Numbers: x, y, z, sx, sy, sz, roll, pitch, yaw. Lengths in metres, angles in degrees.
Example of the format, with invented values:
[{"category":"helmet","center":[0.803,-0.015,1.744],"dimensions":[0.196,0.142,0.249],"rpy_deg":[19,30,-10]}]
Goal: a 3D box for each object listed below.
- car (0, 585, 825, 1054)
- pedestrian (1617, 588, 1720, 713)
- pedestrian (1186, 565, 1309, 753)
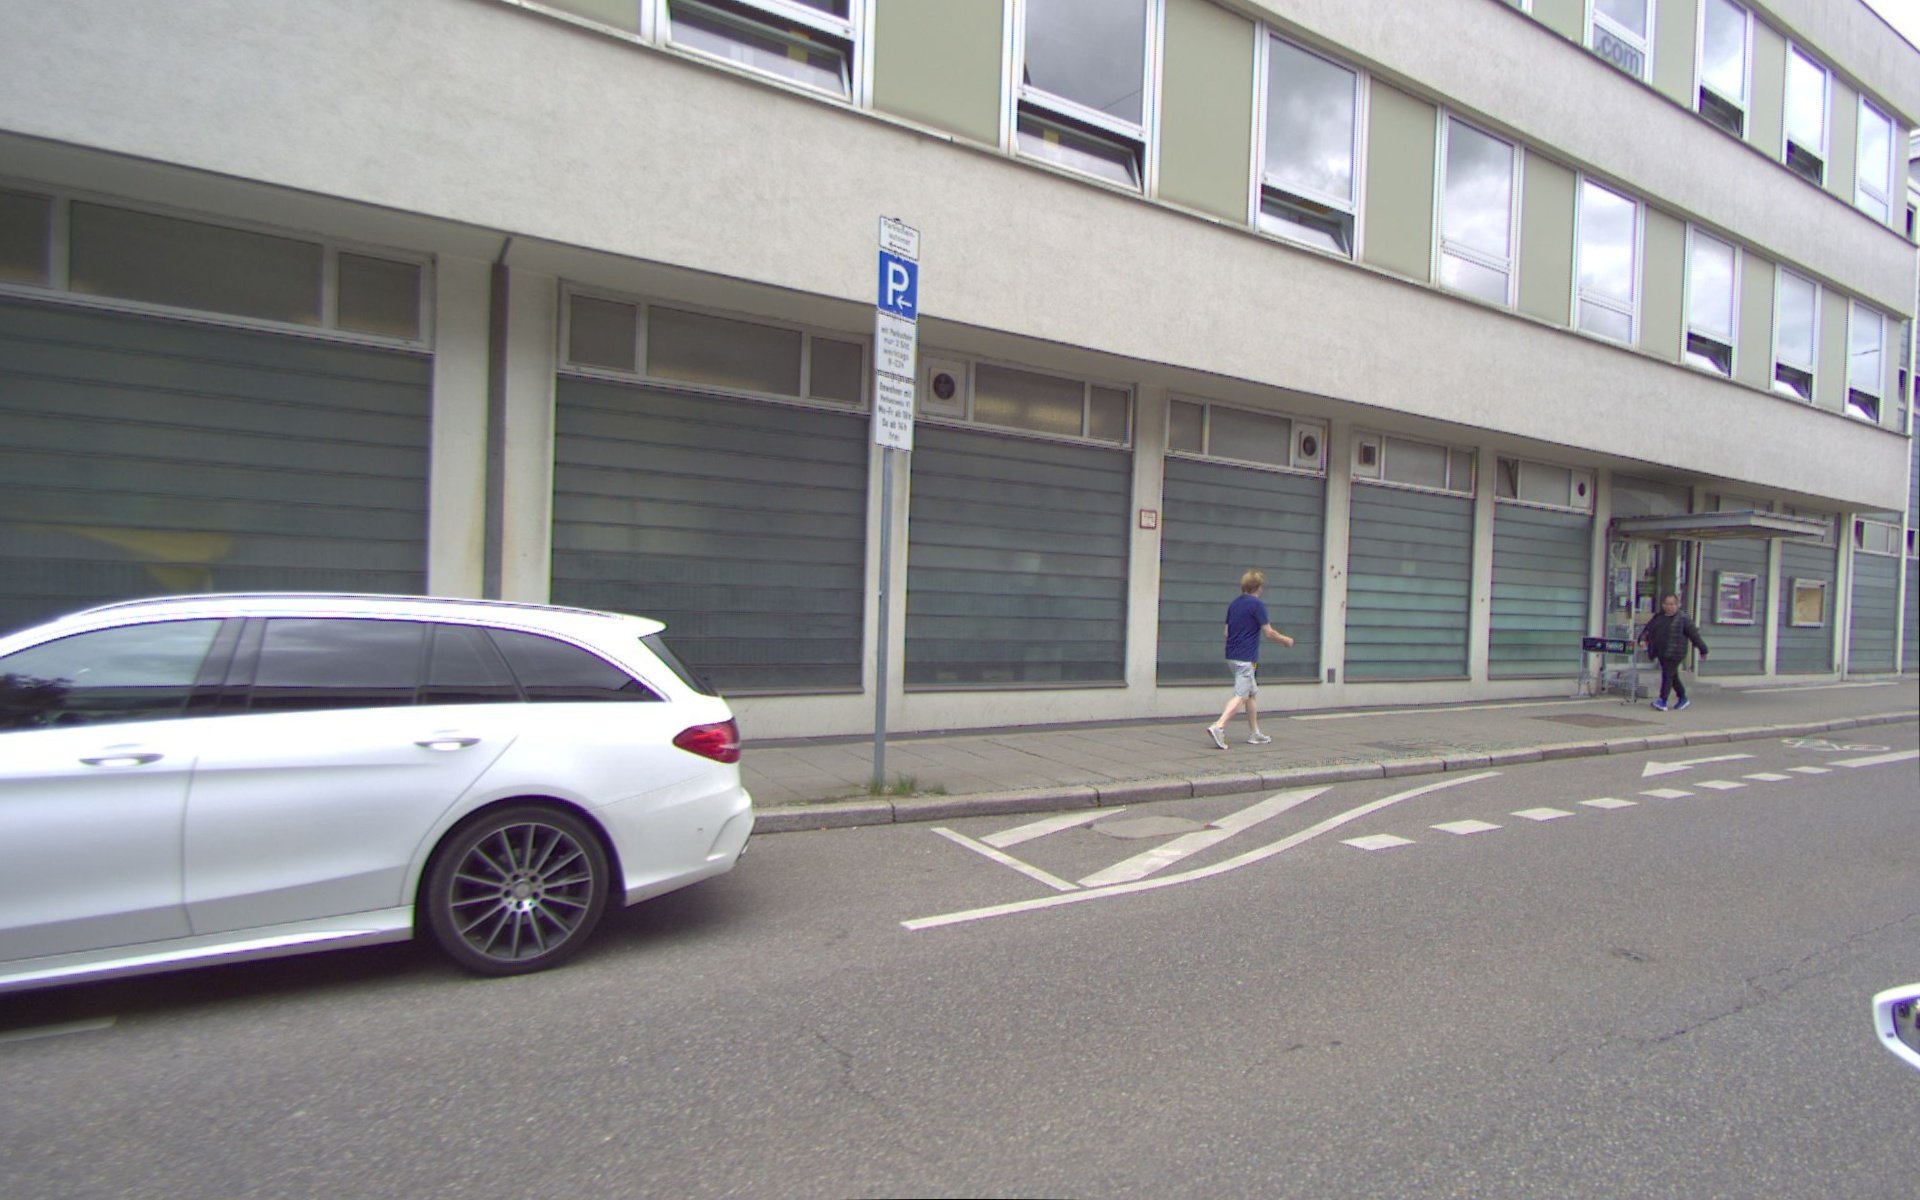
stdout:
[{"category":"car","center":[-2.959,0.701,4.080],"dimensions":[4.497,1.453,1.663],"rpy_deg":[1,-1,-29]},{"category":"pedestrian","center":[10.457,0.716,14.834],"dimensions":[1.020,1.741,0.857],"rpy_deg":[1,2,-32]},{"category":"pedestrian","center":[2.804,0.550,9.784],"dimensions":[1.044,1.741,0.586],"rpy_deg":[1,0,-33]}]
